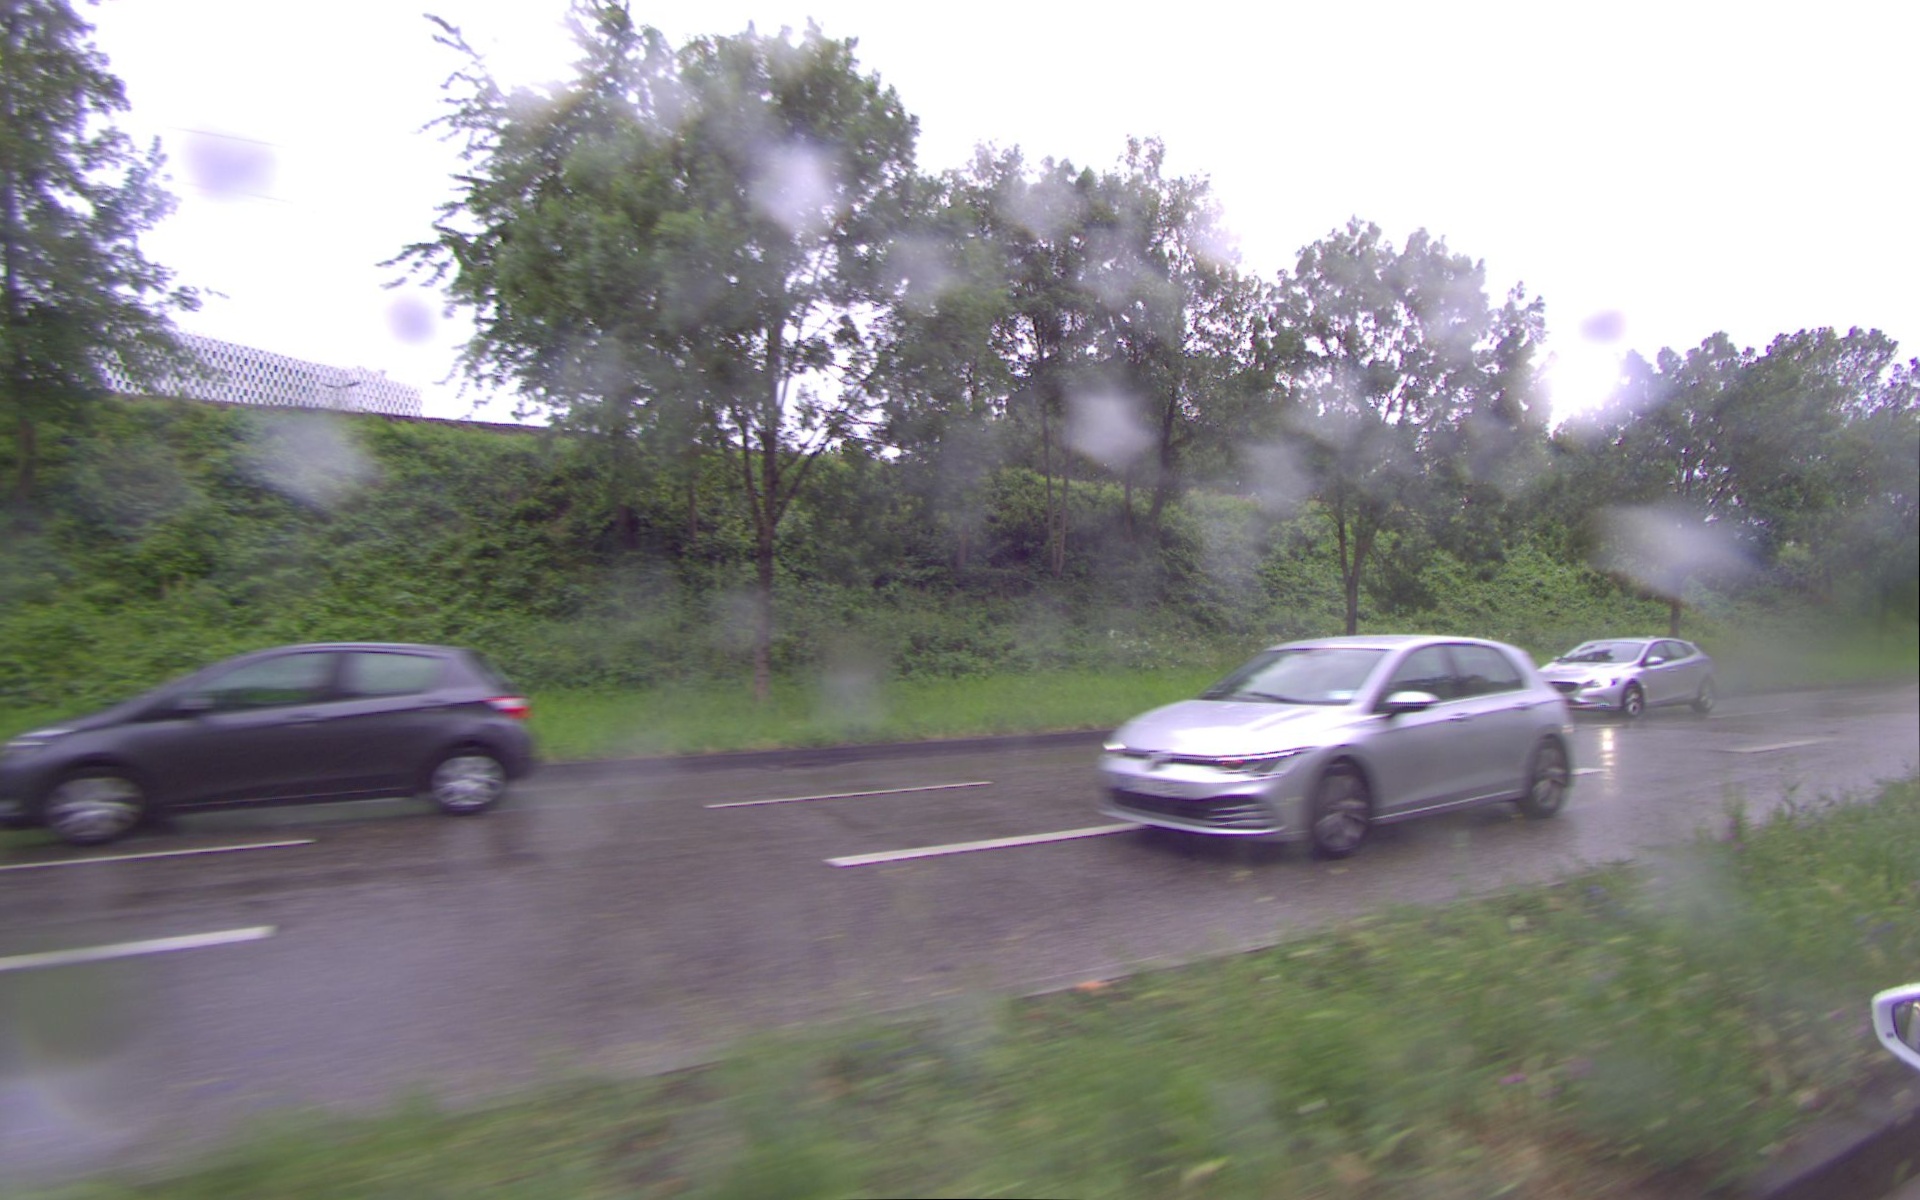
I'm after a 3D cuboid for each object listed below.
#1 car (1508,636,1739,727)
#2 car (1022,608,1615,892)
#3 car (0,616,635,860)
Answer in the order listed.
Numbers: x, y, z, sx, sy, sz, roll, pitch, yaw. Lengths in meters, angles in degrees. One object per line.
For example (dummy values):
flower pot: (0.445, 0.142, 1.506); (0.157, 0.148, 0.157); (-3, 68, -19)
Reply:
car: (12.614, 1.481, 19.055); (4.385, 1.522, 1.828); (1, -3, -29)
car: (2.905, 0.935, 7.755); (4.659, 1.594, 1.898); (1, -4, -34)
car: (-5.464, 1.042, 8.918); (4.651, 1.709, 1.985); (1, -3, -29)
